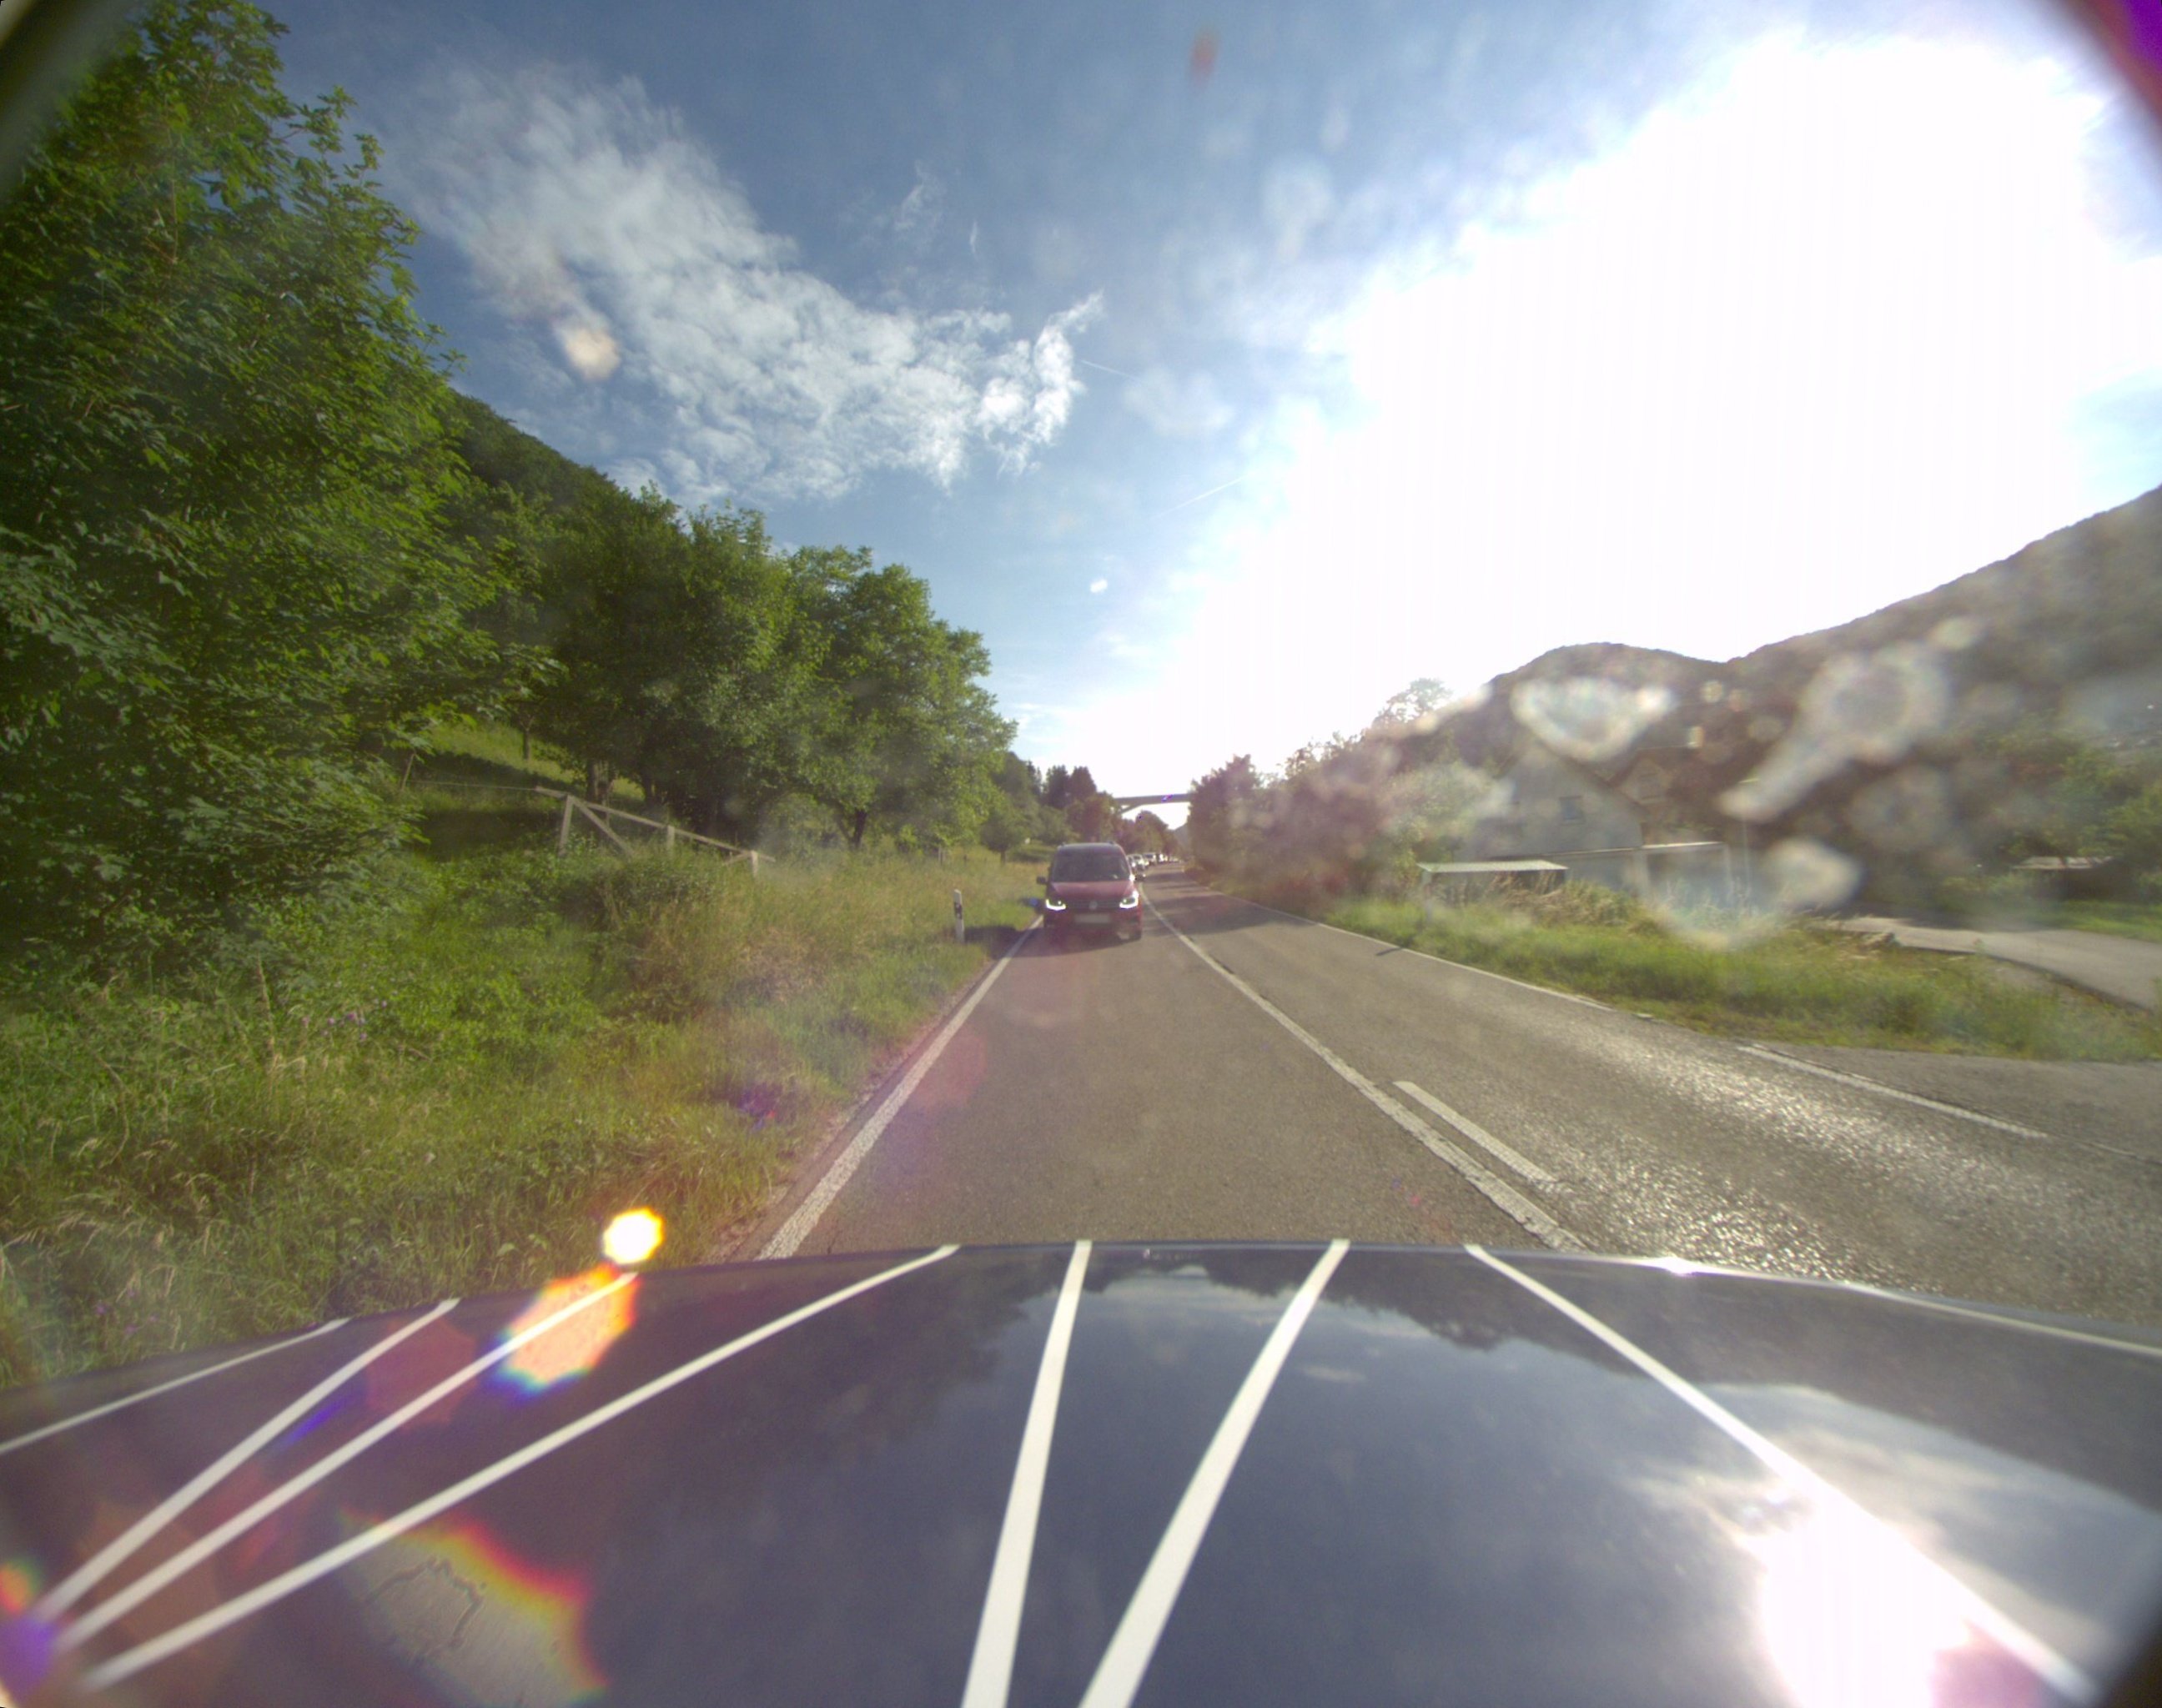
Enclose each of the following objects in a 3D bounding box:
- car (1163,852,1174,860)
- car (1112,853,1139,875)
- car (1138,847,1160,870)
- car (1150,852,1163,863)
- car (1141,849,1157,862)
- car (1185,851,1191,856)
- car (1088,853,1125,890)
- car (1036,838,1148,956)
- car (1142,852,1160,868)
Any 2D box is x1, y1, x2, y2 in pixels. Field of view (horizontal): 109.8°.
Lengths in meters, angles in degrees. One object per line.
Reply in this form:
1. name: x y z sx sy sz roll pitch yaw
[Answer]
1. car: 18.965 0.396 164.413 1.840 1.543 4.181 -1 0 12
2. car: 3.360 0.681 56.505 1.841 1.543 4.179 -1 0 6
3. car: 6.458 0.404 71.651 1.914 2.002 4.002 -1 0 6
4. car: 11.427 0.531 114.981 1.817 1.608 4.002 -1 0 8
5. car: 8.975 0.215 99.496 1.817 1.608 4.003 -1 0 9
6. car: 34.245 -0.085 242.895 1.817 1.608 3.807 -1 0 6
7. car: 1.209 0.780 35.210 1.570 1.575 3.527 -1 0 4
8. car: 0.228 0.700 14.462 1.772 1.855 3.875 -3 0 1
9. car: 7.422 0.619 80.126 1.841 1.543 4.179 -1 0 6
